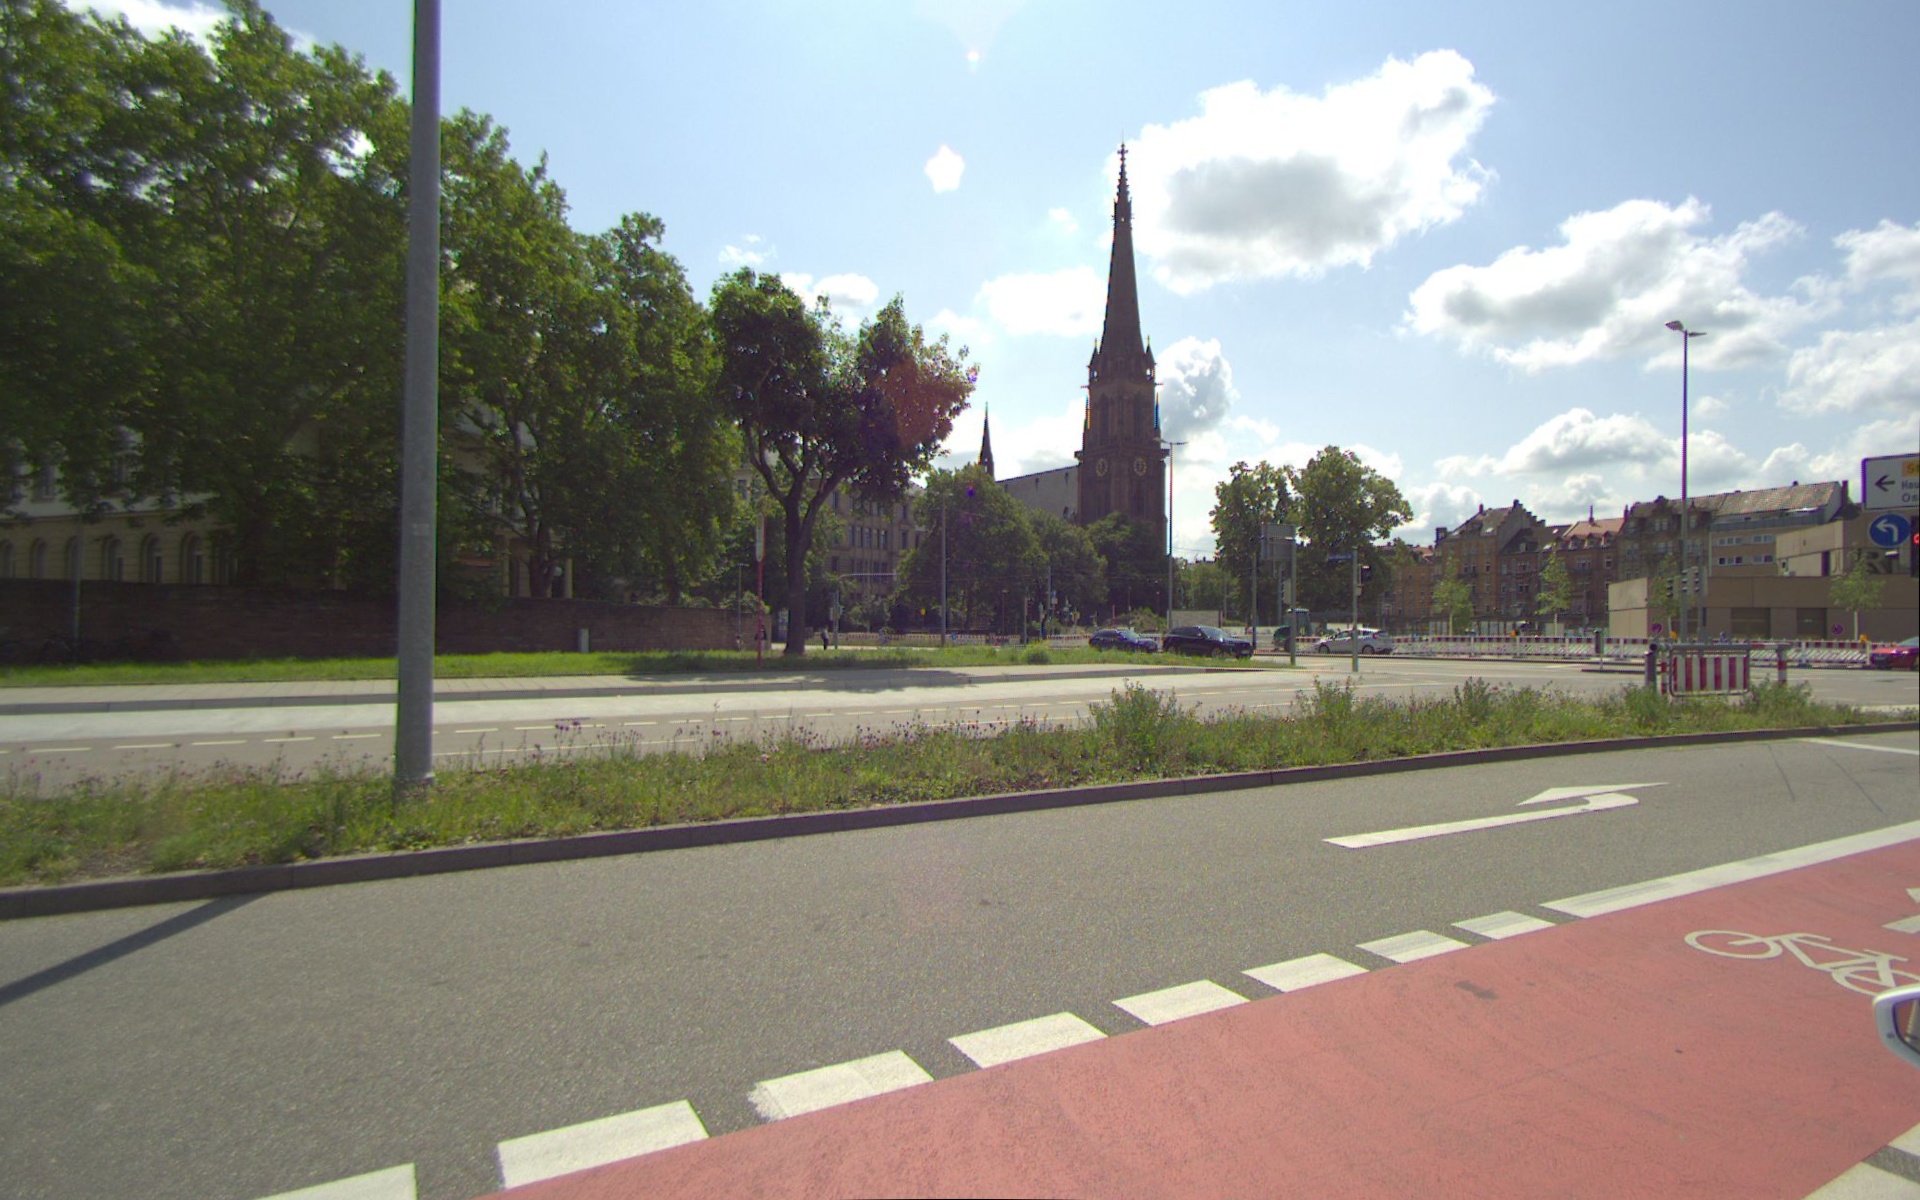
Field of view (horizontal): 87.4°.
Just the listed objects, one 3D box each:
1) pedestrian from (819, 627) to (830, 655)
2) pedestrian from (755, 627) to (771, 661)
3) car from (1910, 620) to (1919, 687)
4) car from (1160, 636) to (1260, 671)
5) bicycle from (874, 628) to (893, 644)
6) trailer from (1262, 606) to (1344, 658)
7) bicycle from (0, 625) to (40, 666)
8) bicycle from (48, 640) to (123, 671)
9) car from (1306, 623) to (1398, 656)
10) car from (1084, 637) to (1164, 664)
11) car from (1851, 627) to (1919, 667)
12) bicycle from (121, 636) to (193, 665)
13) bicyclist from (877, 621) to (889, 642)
[{"bbox_3d":[-9.255,2.804,68.792,0.561,1.844,0.436,1,0,42],"label":"pedestrian"},{"bbox_3d":[-10.411,2.319,53.060,0.479,1.718,0.679,2,0,20],"label":"pedestrian"},{"bbox_3d":[25.513,1.335,24.668,4.100,1.645,1.875,1,0,-26],"label":"car"},{"bbox_3d":[11.621,2.465,46.909,1.977,1.505,4.473,1,-2,-31],"label":"car"},{"bbox_3d":[-5.985,2.830,78.213,0.659,1.161,2.053,2,-1,-28],"label":"bicycle"},{"bbox_3d":[20.845,1.928,61.169,4.278,2.952,2.001,2,0,5],"label":"trailer"},{"bbox_3d":[-24.707,1.173,25.676,0.391,1.043,1.683,0,-2,32],"label":"bicycle"},{"bbox_3d":[-23.725,1.496,27.270,0.391,0.799,1.463,0,-2,32],"label":"bicycle"},{"bbox_3d":[20.249,2.005,51.987,1.982,1.528,3.973,2,-1,-38],"label":"car"},{"bbox_3d":[9.537,2.928,58.740,1.980,1.505,4.623,1,-2,-35],"label":"car"},{"bbox_3d":[37.324,1.824,38.800,3.827,1.505,2.001,0,-2,18],"label":"car"},{"bbox_3d":[-22.864,1.431,28.627,0.391,0.799,1.541,0,-2,32],"label":"bicycle"},{"bbox_3d":[-5.993,2.457,78.244,0.659,1.553,0.642,2,0,-28],"label":"bicyclist"}]
